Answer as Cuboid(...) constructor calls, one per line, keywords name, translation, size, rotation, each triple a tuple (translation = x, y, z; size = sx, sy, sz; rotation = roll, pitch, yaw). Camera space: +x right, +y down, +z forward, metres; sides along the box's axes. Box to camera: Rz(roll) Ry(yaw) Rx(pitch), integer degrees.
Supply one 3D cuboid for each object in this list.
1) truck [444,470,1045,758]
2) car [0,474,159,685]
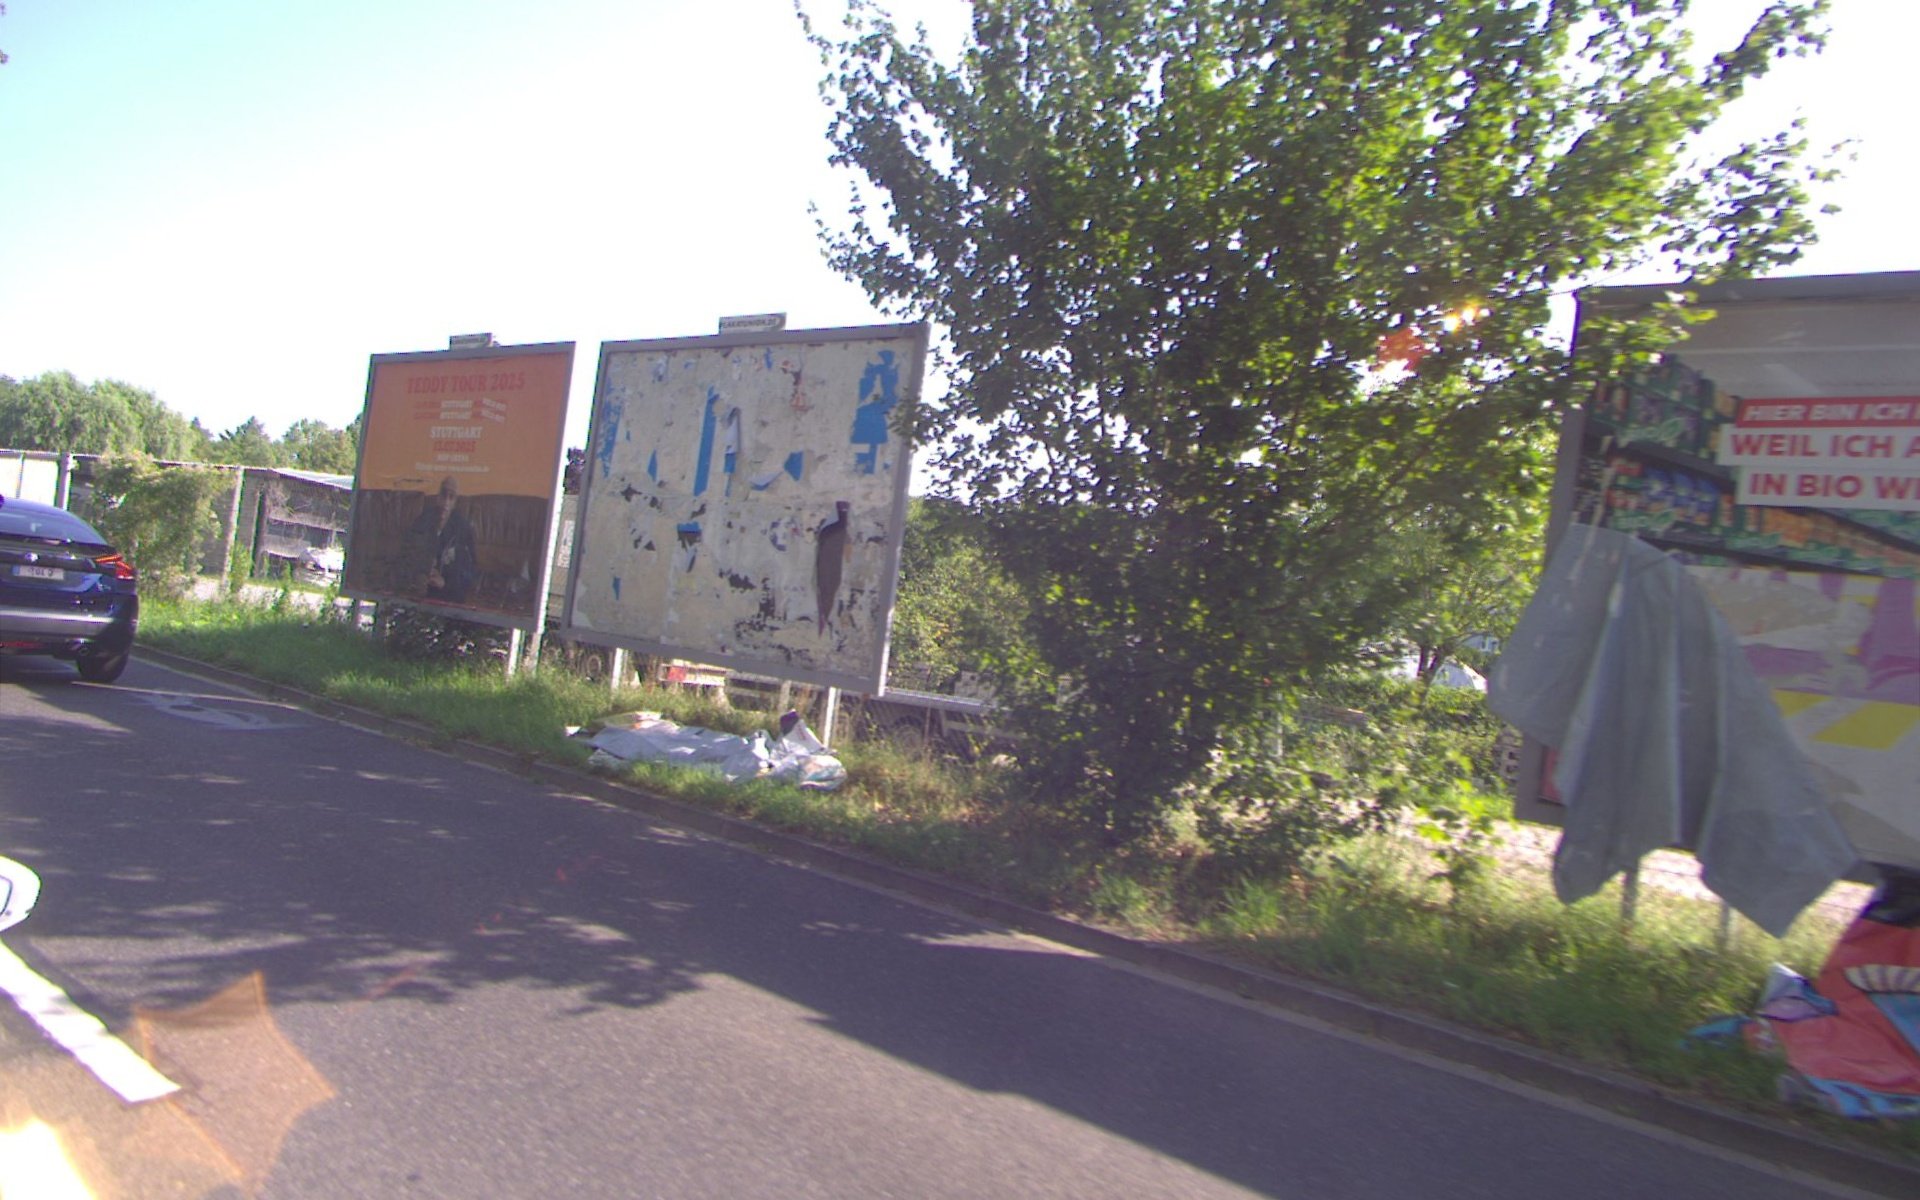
Cuboid(name="truck", translation=(-2.648, -0.012, 10.970), size=(6.800, 2.257, 1.919), rotation=(6, -3, 33))
Cuboid(name="car", translation=(-9.147, -0.346, 8.965), size=(4.183, 1.606, 1.649), rotation=(6, -2, 31))
